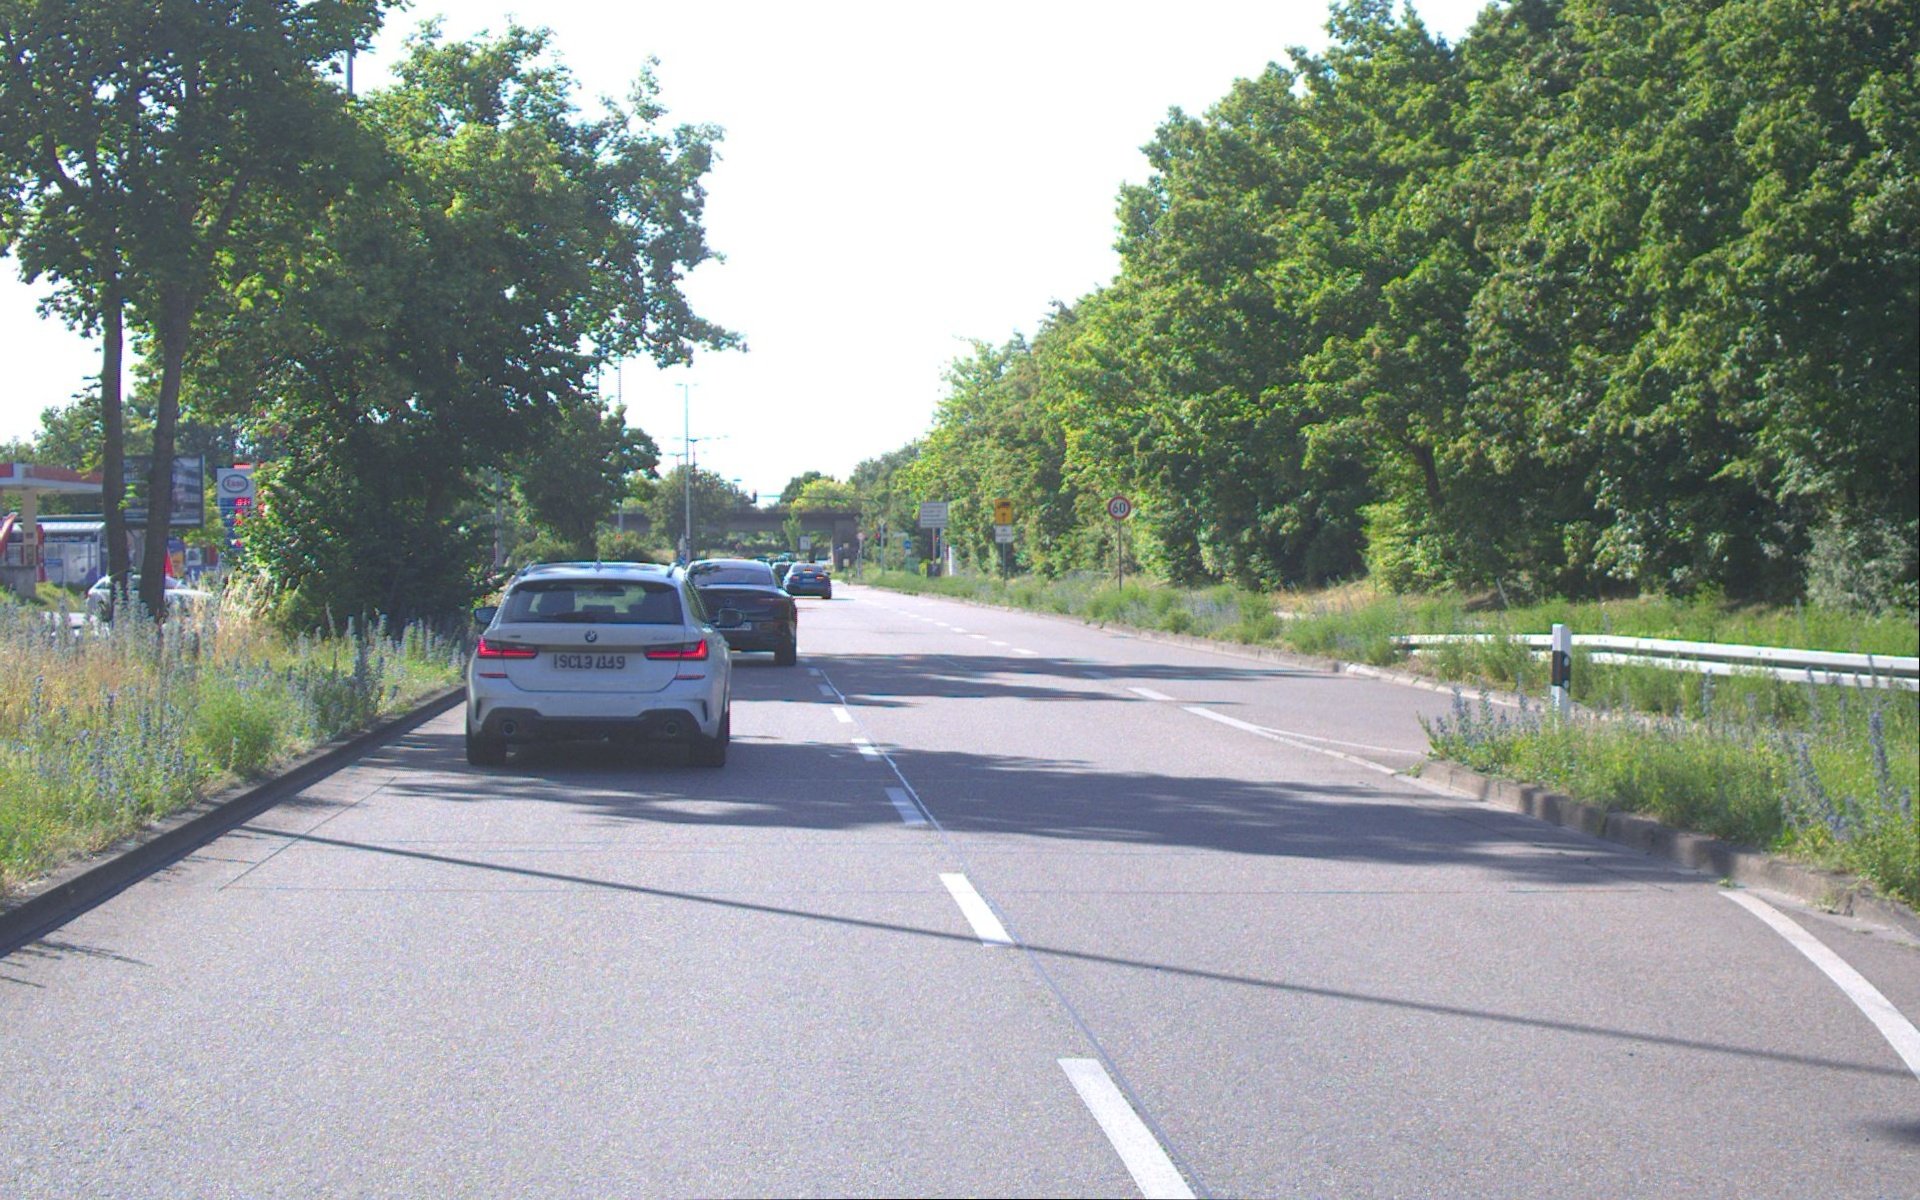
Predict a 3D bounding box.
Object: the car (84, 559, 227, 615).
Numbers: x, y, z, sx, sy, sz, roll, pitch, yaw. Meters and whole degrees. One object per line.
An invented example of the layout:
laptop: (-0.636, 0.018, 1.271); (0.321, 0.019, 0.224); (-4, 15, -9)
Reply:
car: (-25.074, -0.398, 107.071); (4.117, 1.656, 1.890); (0, 1, 29)

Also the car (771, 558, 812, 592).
car: (-8.043, -1.184, 163.565); (1.771, 1.550, 3.834); (-1, 1, -5)

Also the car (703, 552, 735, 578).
car: (-14.391, -2.090, 205.298); (1.861, 1.560, 4.548); (0, 1, -4)

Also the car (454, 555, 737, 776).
car: (-2.603, 0.417, 25.444); (1.861, 1.450, 4.548); (1, 1, -3)

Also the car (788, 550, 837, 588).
car: (-5.924, -1.245, 137.897); (1.861, 1.494, 4.337); (0, 1, -4)

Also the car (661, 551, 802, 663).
car: (-3.211, 0.060, 48.164); (1.861, 1.450, 4.548); (-1, 1, -4)
